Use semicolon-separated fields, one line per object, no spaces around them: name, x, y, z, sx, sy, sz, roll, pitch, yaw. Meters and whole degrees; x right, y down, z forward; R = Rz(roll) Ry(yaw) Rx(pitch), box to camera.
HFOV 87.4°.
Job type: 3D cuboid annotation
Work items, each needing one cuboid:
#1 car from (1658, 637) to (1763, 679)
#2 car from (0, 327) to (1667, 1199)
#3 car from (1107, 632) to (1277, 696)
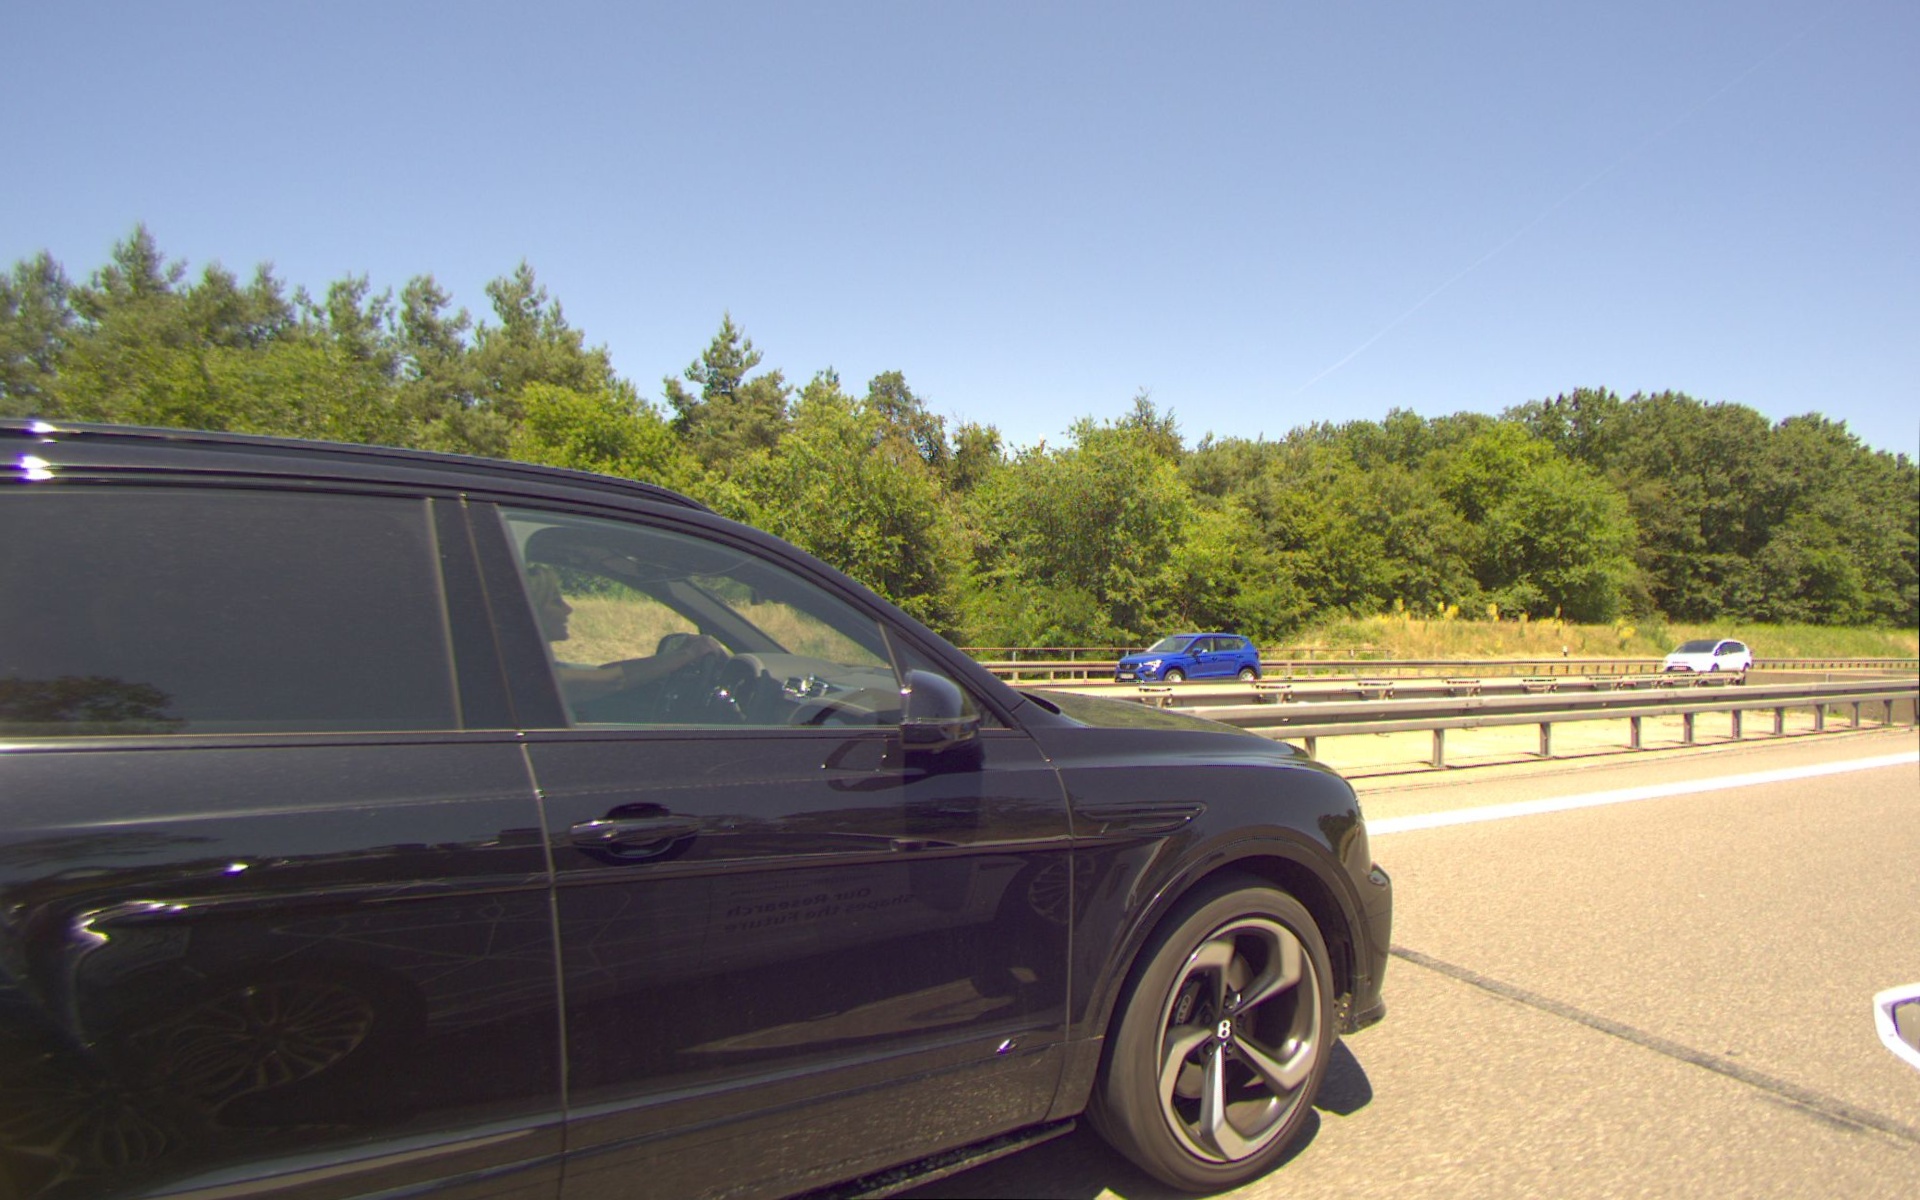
car;31.568;2.435;42.217;5.057;1.682;1.694;2;-4;-31
car;-0.564;0.566;2.764;5.746;1.775;1.931;1;0;-31
car;6.195;1.680;26.695;4.483;1.565;1.694;2;-4;-31
